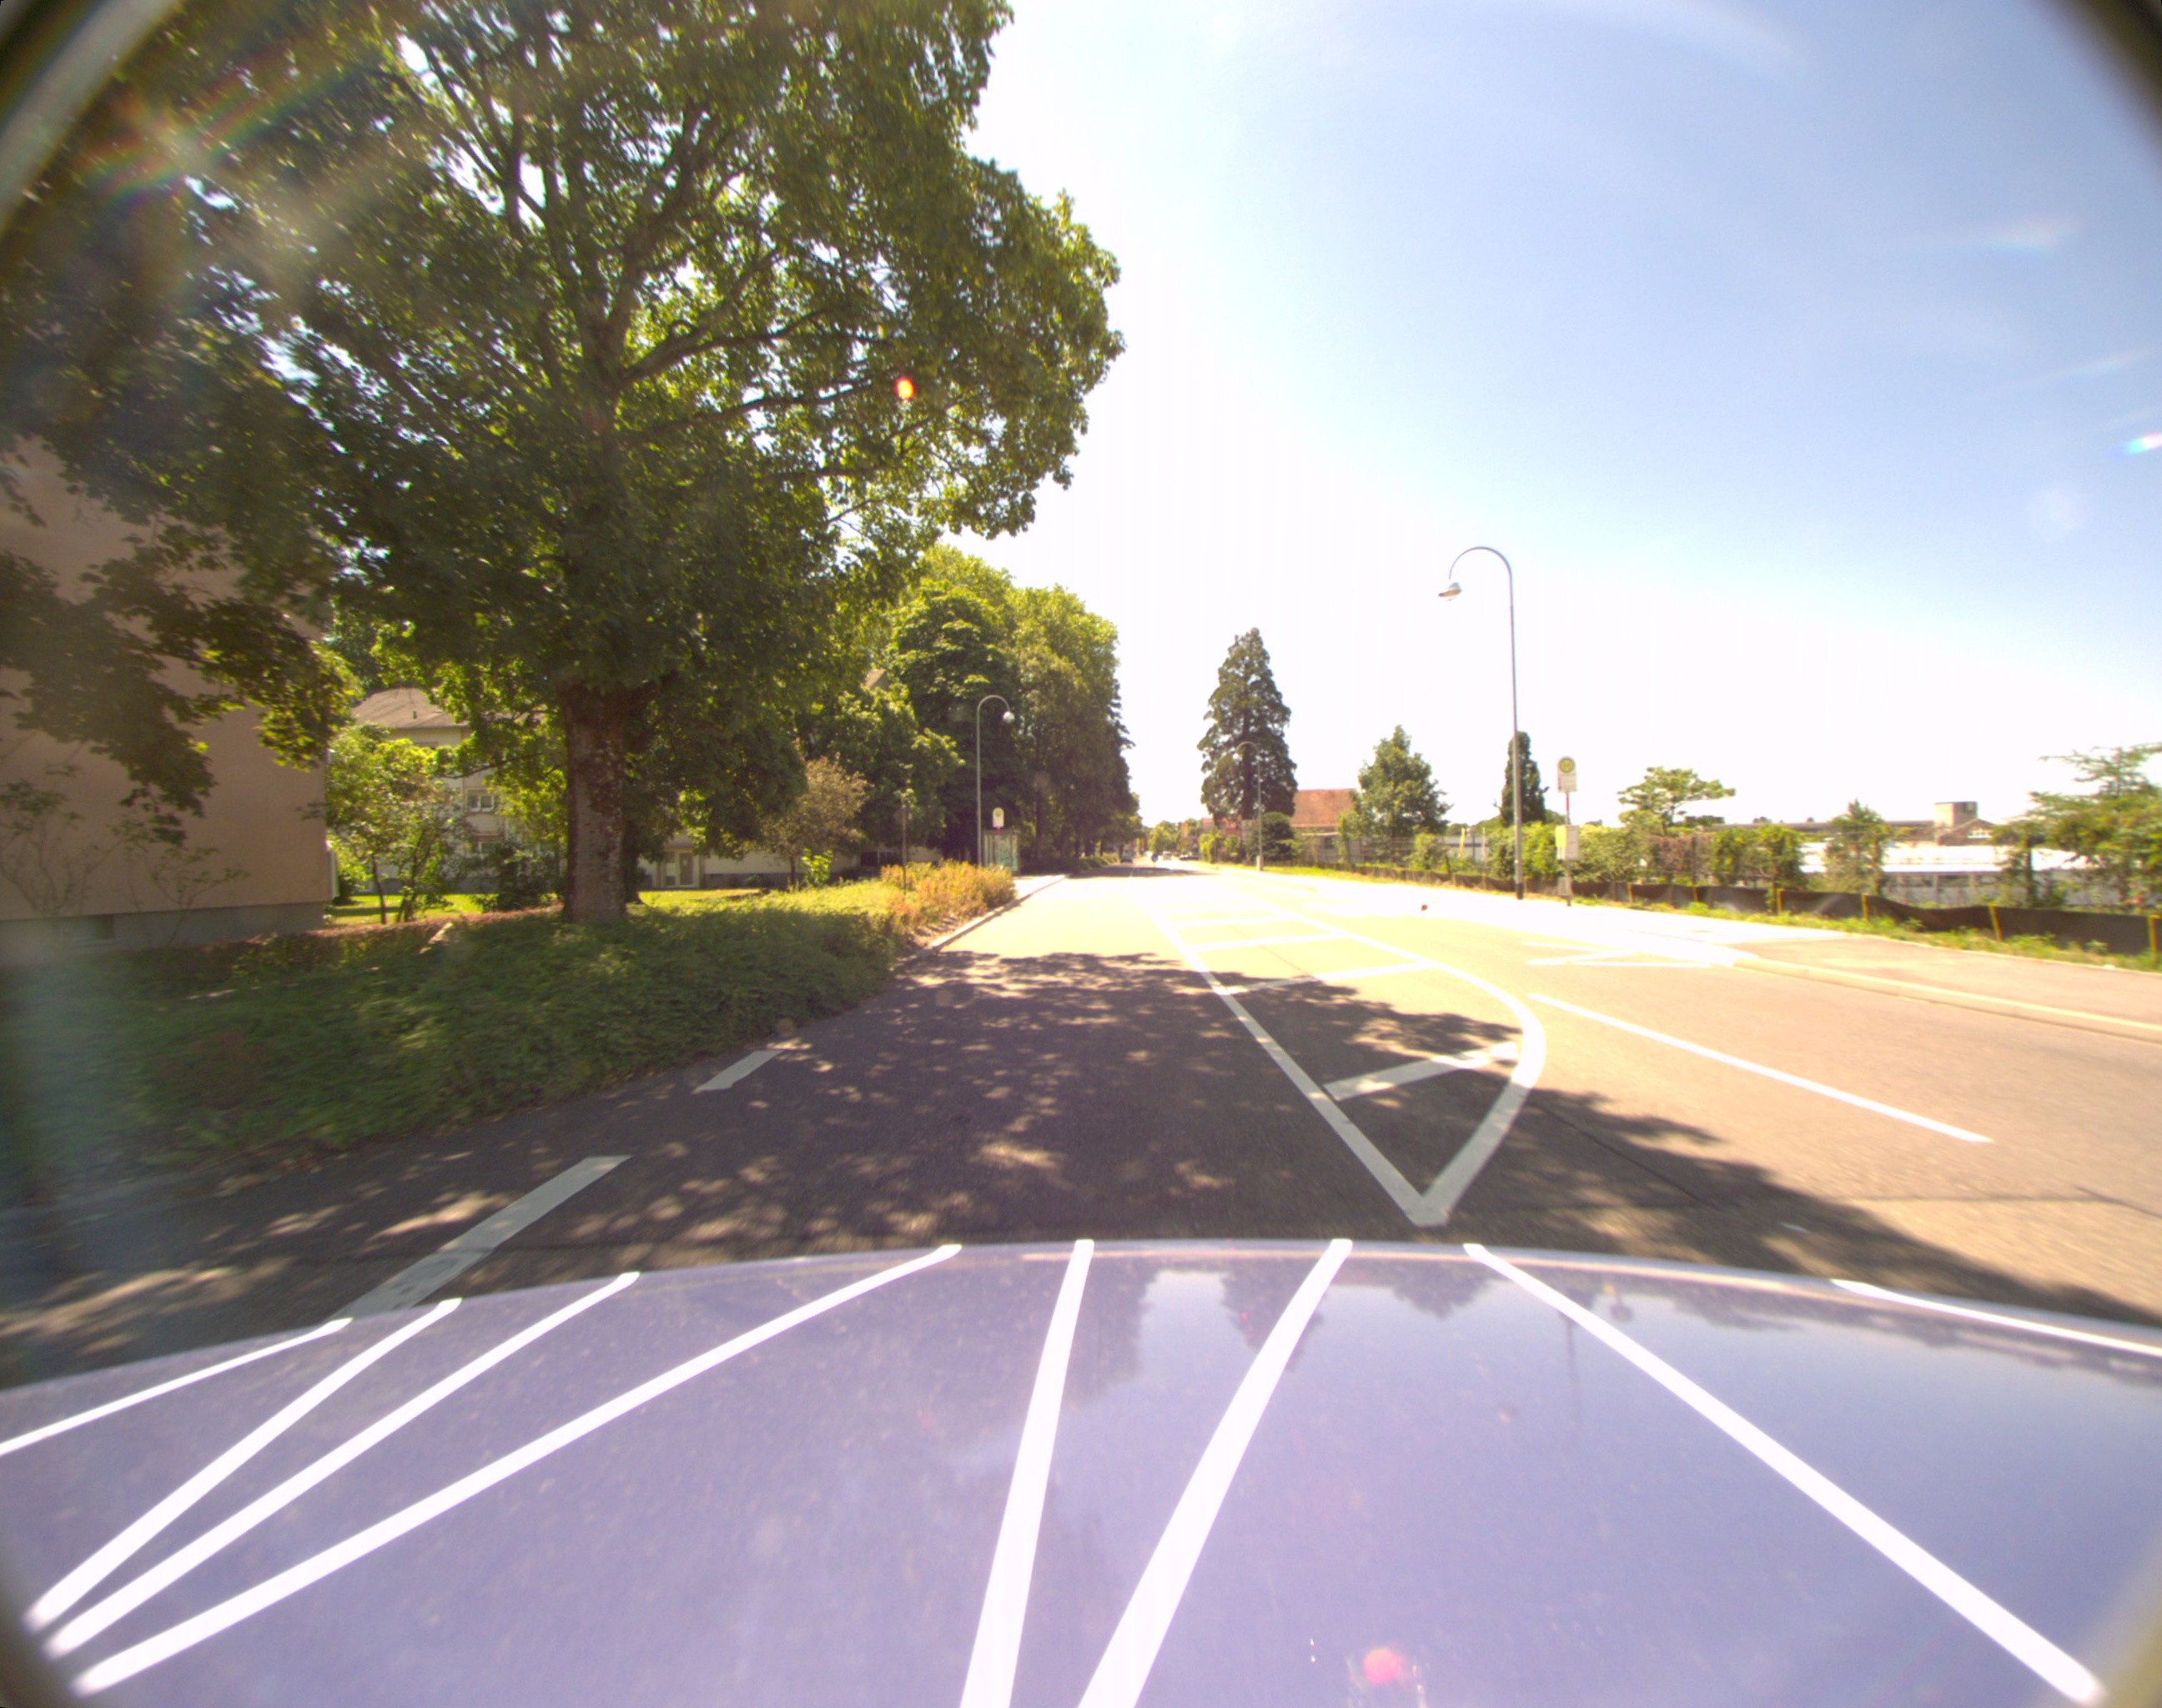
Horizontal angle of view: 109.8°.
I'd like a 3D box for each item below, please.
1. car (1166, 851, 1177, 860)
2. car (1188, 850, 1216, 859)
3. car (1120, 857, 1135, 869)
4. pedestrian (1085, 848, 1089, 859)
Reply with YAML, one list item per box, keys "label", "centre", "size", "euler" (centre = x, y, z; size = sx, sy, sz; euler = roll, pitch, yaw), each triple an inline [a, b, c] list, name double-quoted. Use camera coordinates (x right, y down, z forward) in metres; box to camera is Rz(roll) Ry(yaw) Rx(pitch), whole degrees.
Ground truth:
- label: "car"
  centre: [17.028, 0.326, 143.596]
  size: [1.787, 1.635, 4.690]
  euler: [1, 1, 3]
- label: "car"
  centre: [20.607, 0.079, 129.205]
  size: [4.309, 1.540, 1.889]
  euler: [0, 1, 29]
- label: "car"
  centre: [6.575, 1.281, 107.533]
  size: [1.883, 1.623, 4.322]
  euler: [0, 1, 6]
- label: "pedestrian"
  centre: [0.988, -0.156, 131.236]
  size: [0.677, 1.914, 0.621]
  euler: [-1, 1, 5]
